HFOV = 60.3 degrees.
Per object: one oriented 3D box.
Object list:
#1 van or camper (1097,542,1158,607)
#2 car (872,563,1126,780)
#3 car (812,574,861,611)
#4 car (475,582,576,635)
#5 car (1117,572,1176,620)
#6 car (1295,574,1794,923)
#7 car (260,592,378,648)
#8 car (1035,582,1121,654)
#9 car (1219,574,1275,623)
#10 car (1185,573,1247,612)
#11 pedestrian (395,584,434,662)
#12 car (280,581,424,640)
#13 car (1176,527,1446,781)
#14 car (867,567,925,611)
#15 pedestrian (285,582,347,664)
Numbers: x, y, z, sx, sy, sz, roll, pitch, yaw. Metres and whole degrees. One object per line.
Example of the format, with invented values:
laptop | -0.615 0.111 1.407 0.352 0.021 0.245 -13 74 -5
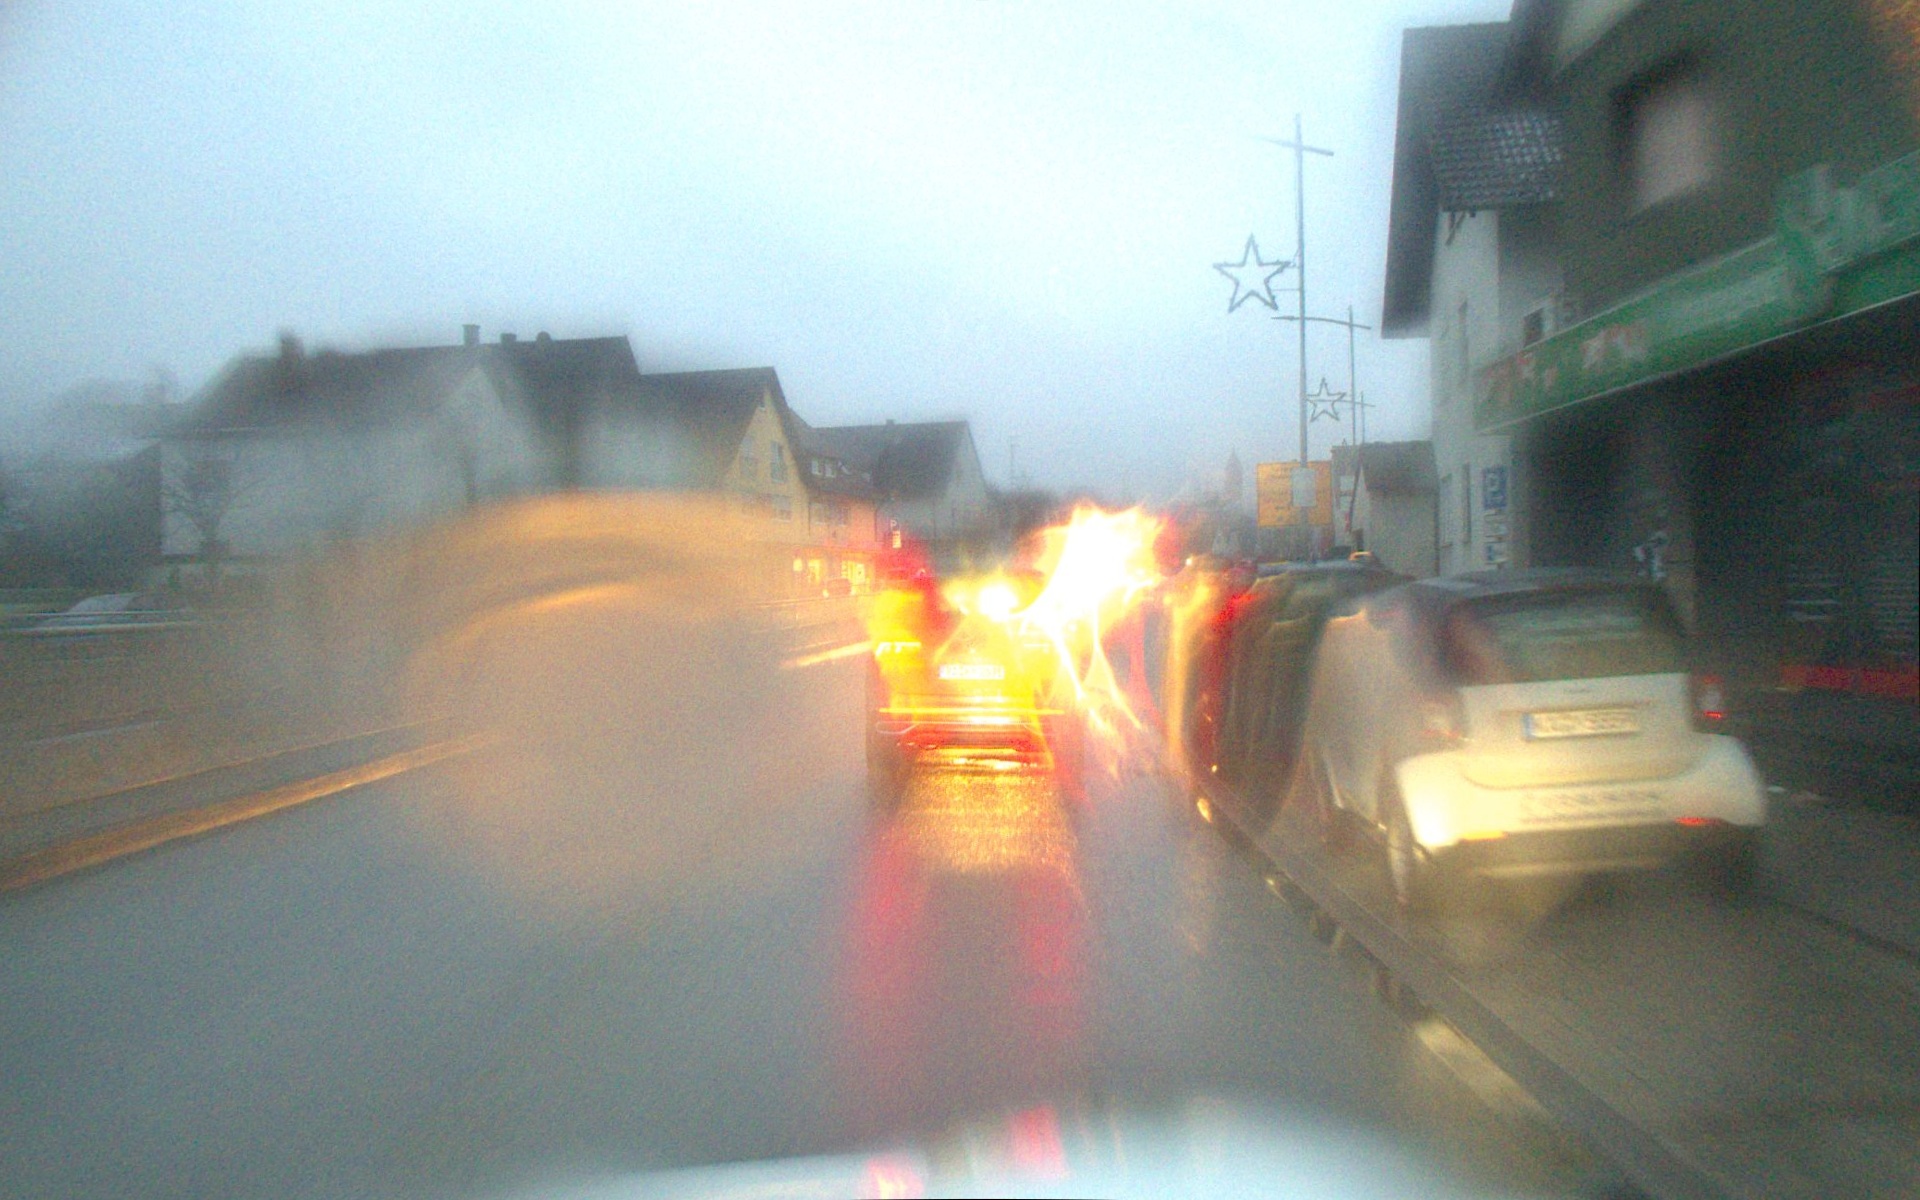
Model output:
van or camper | 7.499 -1.162 73.508 2.192 2.715 6.561 -1 1 10
car | 0.212 0.495 14.725 1.925 1.622 4.312 0 1 -2
car | -5.805 -0.357 77.437 1.789 1.641 4.045 -1 1 -12
car | -15.197 0.257 58.135 1.870 1.712 4.222 -1 1 9
car | 5.989 -0.164 52.830 1.775 1.436 4.004 0 2 8
car | 2.855 0.633 8.657 1.611 1.440 2.728 -3 1 1
car | -17.479 0.516 45.265 1.450 1.452 3.462 -1 0 9
car | 2.530 0.370 36.247 1.648 1.478 4.000 0 0 1
car | 13.144 -0.104 75.506 2.112 2.025 4.503 -4 0 13
car | 10.043 -0.325 64.763 1.951 1.416 4.003 -1 1 15
pedestrian | -12.163 0.502 36.882 0.649 1.727 0.542 0 1 11
car | -19.801 0.318 53.964 3.902 1.723 1.866 -2 1 7
car | 2.903 0.383 14.470 1.732 1.813 4.003 -4 0 5
car | -3.005 -0.539 76.880 2.001 1.959 4.045 -1 1 -12
pedestrian | -14.530 0.496 37.334 0.908 1.815 0.974 0 1 11
